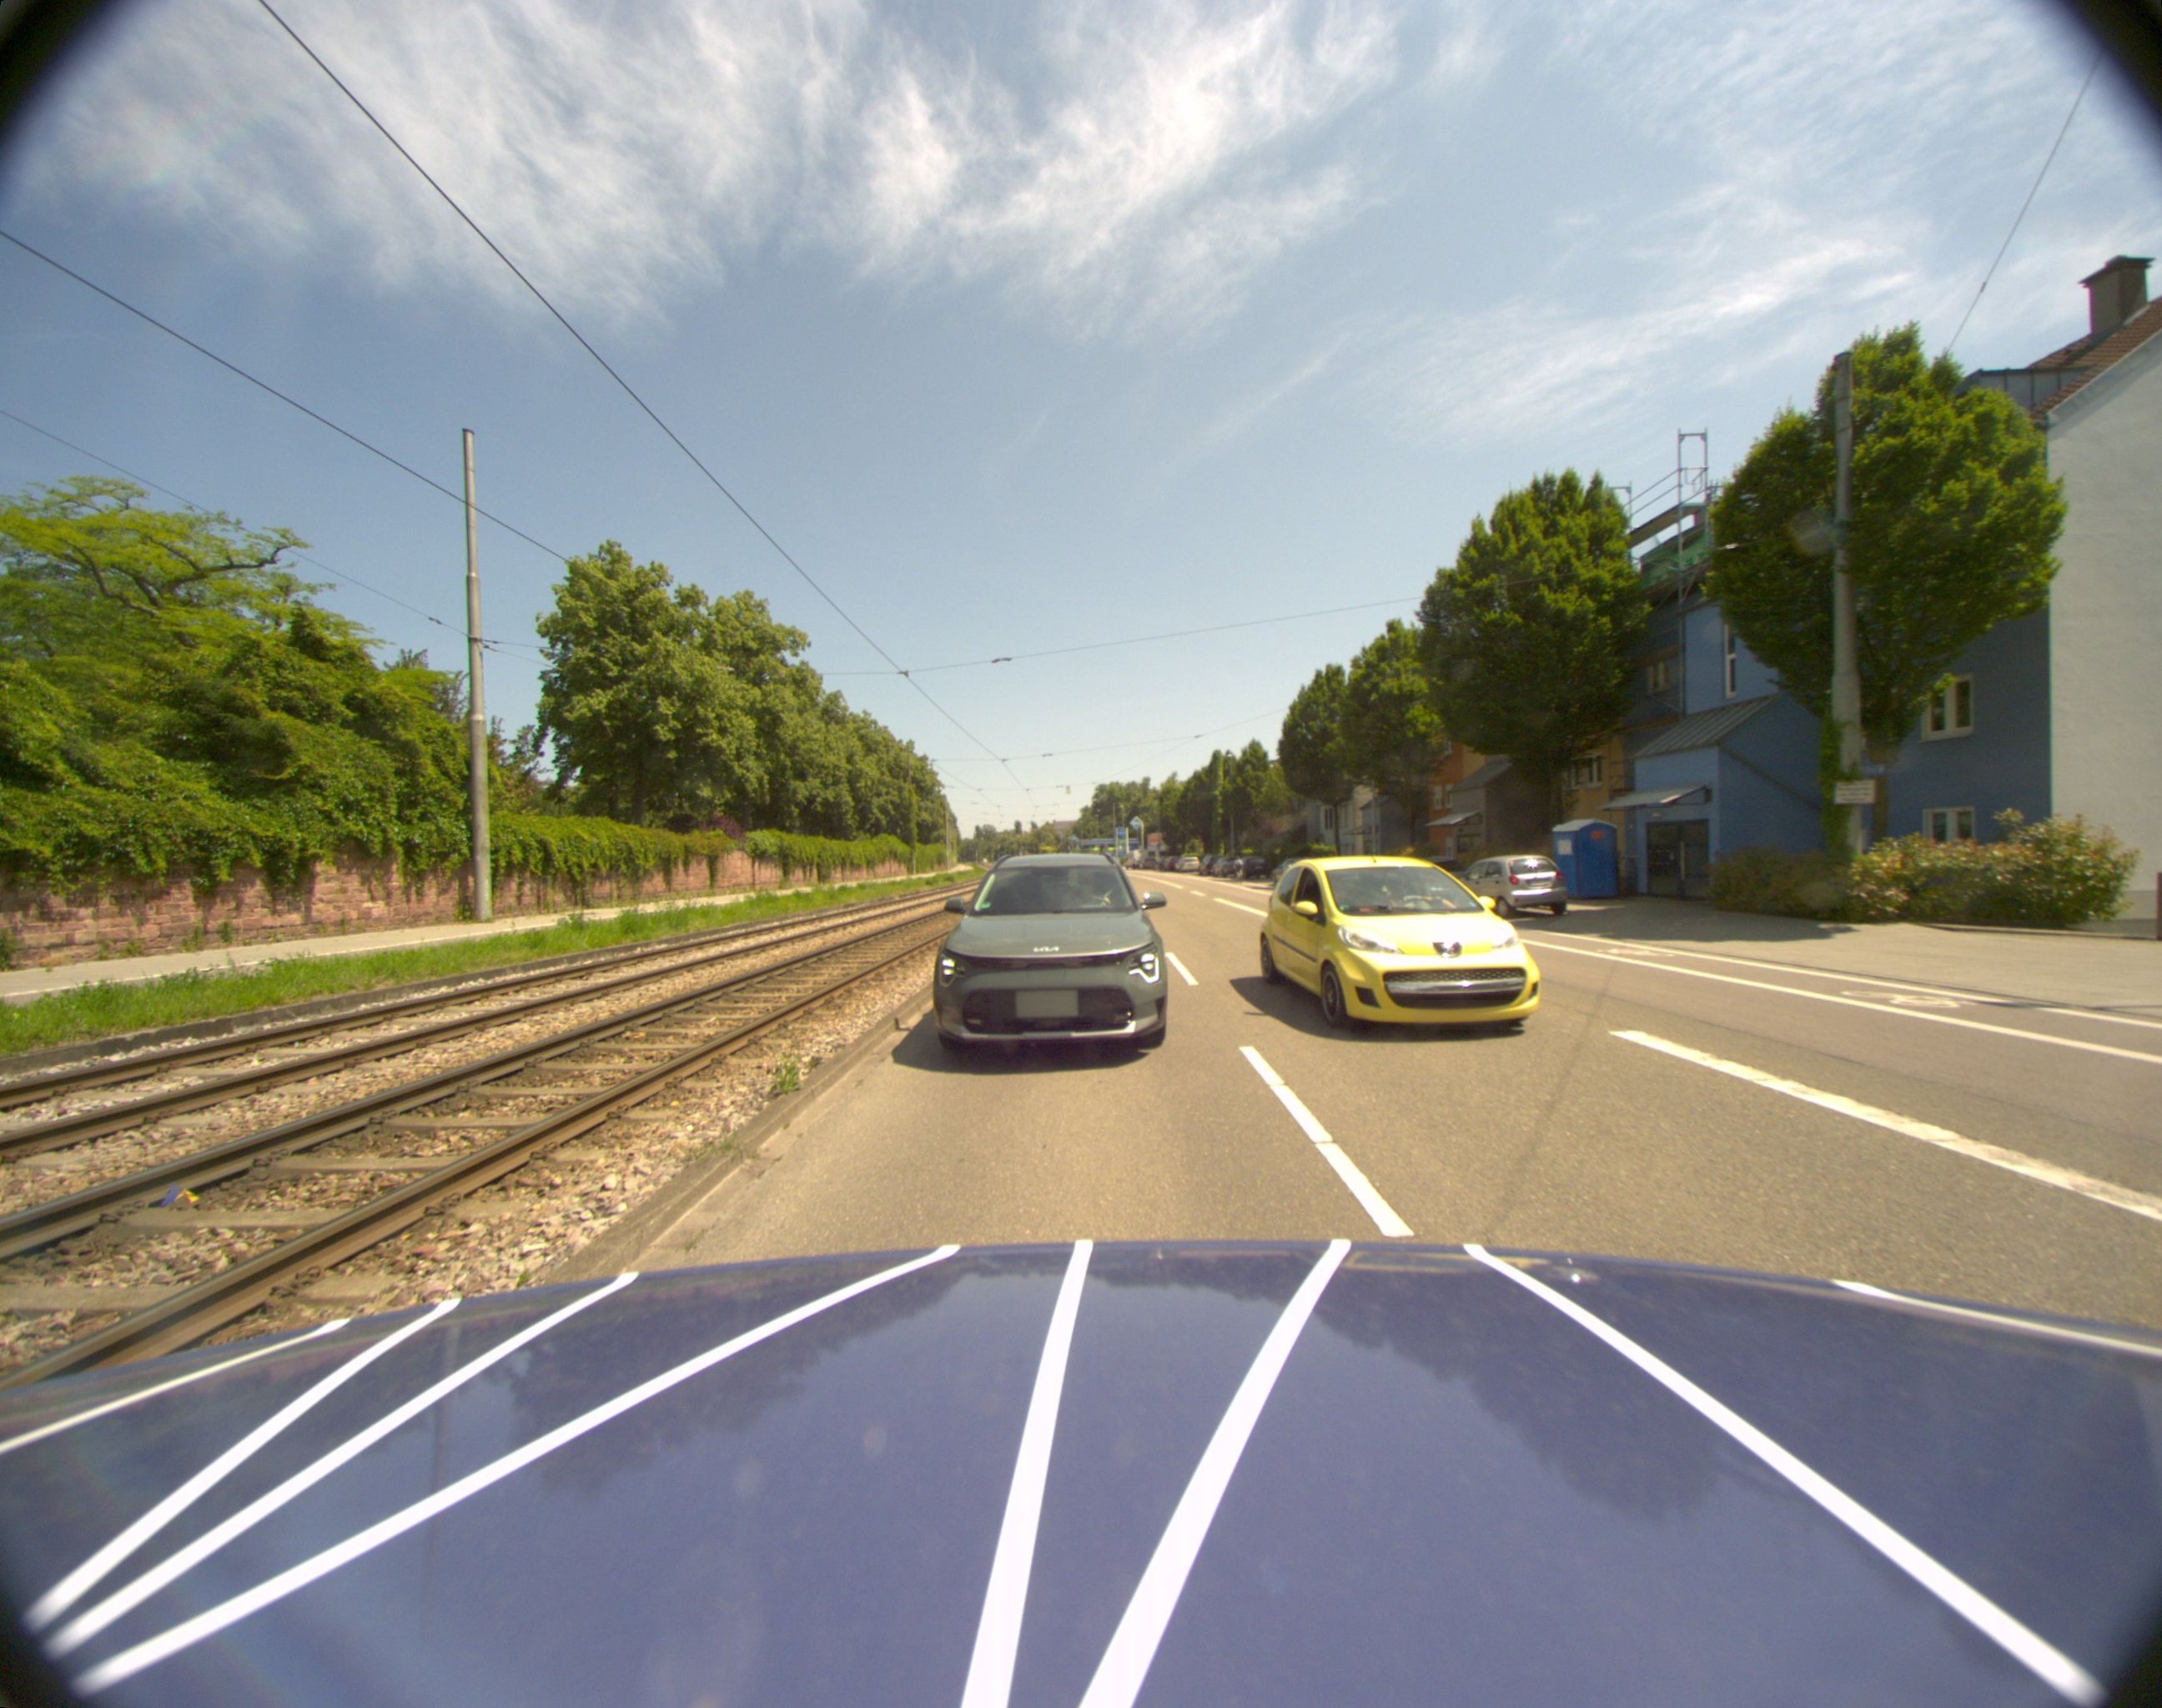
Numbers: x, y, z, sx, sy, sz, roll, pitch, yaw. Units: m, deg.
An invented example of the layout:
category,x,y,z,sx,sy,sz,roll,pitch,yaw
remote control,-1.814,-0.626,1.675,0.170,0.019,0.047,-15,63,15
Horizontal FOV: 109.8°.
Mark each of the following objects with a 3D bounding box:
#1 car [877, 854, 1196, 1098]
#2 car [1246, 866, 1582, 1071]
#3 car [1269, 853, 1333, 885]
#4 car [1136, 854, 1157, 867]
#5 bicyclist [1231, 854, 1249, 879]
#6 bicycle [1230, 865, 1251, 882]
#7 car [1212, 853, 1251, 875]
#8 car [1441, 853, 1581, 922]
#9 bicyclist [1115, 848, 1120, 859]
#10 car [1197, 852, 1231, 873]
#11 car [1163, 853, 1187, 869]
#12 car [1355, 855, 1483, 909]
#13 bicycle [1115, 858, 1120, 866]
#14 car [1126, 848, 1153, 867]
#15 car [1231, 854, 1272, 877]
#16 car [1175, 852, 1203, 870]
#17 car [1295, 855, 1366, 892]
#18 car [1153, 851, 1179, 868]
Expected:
category,x,y,z,sx,sy,sz,roll,pitch,yaw
car,-0.199,0.832,7.102,2.062,1.534,4.001,-3,0,3
car,2.875,0.880,7.437,1.695,1.403,3.515,-3,0,0
car,11.582,0.775,40.361,1.708,1.421,4.750,-6,0,-3
car,8.118,0.836,93.898,1.870,1.528,4.142,-3,0,-4
bicyclist,9.240,0.696,44.113,0.737,1.422,1.124,2,0,-2
bicycle,9.269,1.122,44.225,0.703,0.945,2.243,1,-1,-2
car,11.189,0.747,56.796,1.830,1.487,4.756,-3,0,-1
car,11.034,0.789,19.783,1.597,1.487,3.448,-6,0,1
bicyclist,5.092,-0.067,106.694,0.737,1.496,0.737,0,1,1
car,10.931,0.720,62.616,1.772,1.579,4.147,-3,0,-3
car,9.846,0.735,79.830,1.604,1.584,3.680,-3,0,-6
car,10.970,0.851,25.136,1.791,1.441,5.133,-5,-1,0
bicycle,5.074,1.143,106.689,0.641,1.089,1.638,1,1,1
car,7.668,0.437,99.972,2.285,2.294,5.226,-3,0,-8
car,11.518,0.739,51.506,1.754,1.424,4.257,-4,0,0
car,10.454,0.699,73.938,1.845,1.573,4.495,-3,0,-2
car,11.387,0.842,34.997,1.750,1.434,4.420,-6,0,0
car,9.517,0.567,85.038,1.999,1.783,4.556,-2,0,-5
